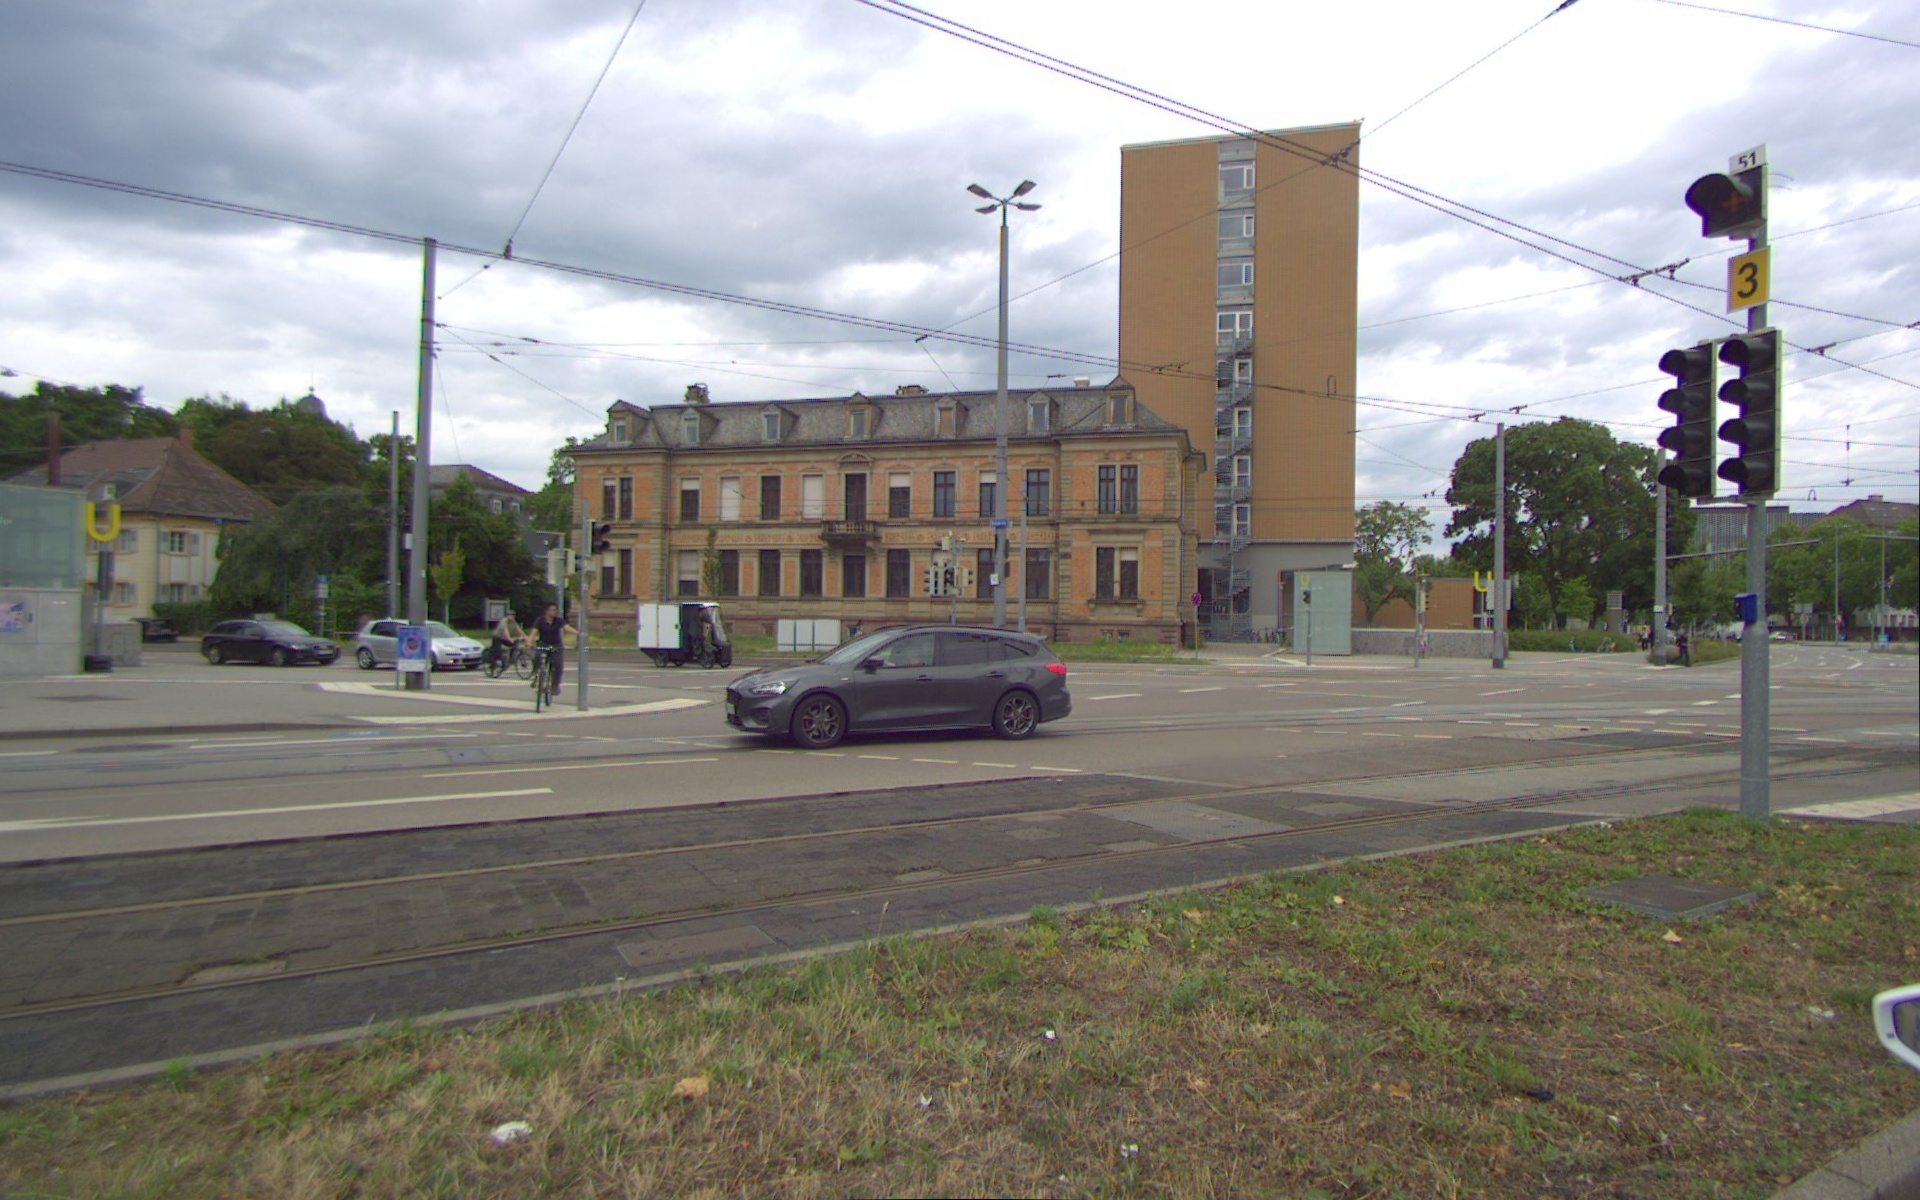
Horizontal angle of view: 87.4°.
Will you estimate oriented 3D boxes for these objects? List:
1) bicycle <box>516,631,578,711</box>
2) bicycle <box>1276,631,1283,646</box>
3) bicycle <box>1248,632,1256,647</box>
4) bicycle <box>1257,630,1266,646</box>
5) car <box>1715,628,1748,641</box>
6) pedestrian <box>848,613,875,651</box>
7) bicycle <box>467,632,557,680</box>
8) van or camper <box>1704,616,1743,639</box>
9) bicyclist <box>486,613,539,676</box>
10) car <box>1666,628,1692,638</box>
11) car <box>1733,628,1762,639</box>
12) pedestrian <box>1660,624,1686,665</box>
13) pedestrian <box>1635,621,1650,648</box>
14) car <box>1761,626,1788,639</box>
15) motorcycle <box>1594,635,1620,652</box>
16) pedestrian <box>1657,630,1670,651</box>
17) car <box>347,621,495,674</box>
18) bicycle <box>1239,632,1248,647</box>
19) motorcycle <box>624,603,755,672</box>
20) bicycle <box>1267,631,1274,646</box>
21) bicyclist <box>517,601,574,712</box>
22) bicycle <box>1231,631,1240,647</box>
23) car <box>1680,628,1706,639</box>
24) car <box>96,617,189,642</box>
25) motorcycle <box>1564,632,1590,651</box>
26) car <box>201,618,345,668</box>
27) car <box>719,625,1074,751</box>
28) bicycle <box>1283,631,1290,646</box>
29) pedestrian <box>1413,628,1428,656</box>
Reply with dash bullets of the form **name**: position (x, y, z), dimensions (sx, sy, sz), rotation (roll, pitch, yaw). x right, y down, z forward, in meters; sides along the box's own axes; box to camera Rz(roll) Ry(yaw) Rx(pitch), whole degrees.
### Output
- **bicycle**: position (-7.053, 1.169, 17.095), dimensions (0.805, 1.259, 1.986), rotation (0, -2, -27)
- **bicycle**: position (23.400, 2.791, 73.649), dimensions (0.472, 1.063, 1.428), rotation (1, -1, 18)
- **bicycle**: position (21.558, 2.920, 74.138), dimensions (0.561, 1.120, 1.428), rotation (1, -1, 18)
- **bicycle**: position (22.202, 2.797, 73.971), dimensions (0.561, 1.120, 1.428), rotation (1, -1, 18)
- **car**: position (94.934, 4.244, 123.636), dimensions (1.746, 1.483, 4.002), rotation (1, -1, 14)
- **pedestrian**: position (-4.738, 1.537, 48.262), dimensions (1.104, 1.786, 0.759), rotation (1, -1, 8)
- **bicycle**: position (-11.864, 1.466, 26.605), dimensions (2.154, 1.224, 0.857), rotation (0, -2, 20)
- **van or camper**: position (108.264, 3.816, 142.515), dimensions (2.347, 3.165, 5.507), rotation (1, -1, 12)
- **bicyclist**: position (-11.854, 1.166, 26.613), dimensions (0.899, 1.644, 0.855), rotation (0, -1, 20)
- **car**: position (113.902, 5.254, 159.139), dimensions (1.745, 1.483, 4.002), rotation (1, 0, 11)
- **car**: position (112.170, 4.768, 143.111), dimensions (1.745, 1.483, 4.002), rotation (1, 0, 13)
- **pedestrian**: position (37.003, 2.298, 52.105), dimensions (1.009, 2.040, 0.842), rotation (0, -1, 41)
- **pedestrian**: position (51.098, 2.568, 75.186), dimensions (0.781, 2.007, 0.880), rotation (1, -2, 26)
- **car**: position (108.451, 4.317, 133.770), dimensions (1.747, 1.483, 3.999), rotation (1, 0, 22)
- **motorcycle**: position (43.689, 2.939, 67.844), dimensions (1.716, 1.126, 0.510), rotation (1, -1, -17)
- **pedestrian**: position (66.275, 3.807, 94.660), dimensions (0.868, 2.007, 0.792), rotation (0, -2, 42)
- **car**: position (-16.242, 1.382, 30.266), dimensions (4.081, 1.473, 1.761), rotation (0, -1, 23)
- **bicycle**: position (20.996, 2.903, 74.308), dimensions (0.561, 1.120, 1.428), rotation (1, -1, 18)
- **motorcycle**: position (-8.486, 1.133, 31.554), dimensions (3.614, 2.040, 1.696), rotation (0, -1, 19)
- **bicycle**: position (22.826, 2.806, 73.773), dimensions (0.500, 1.063, 1.428), rotation (1, -1, 18)
- **bicyclist**: position (-7.083, 0.938, 17.165), dimensions (0.805, 1.822, 1.022), rotation (0, 0, -28)
- **bicycle**: position (20.432, 2.901, 74.481), dimensions (0.561, 1.120, 1.428), rotation (1, -1, 18)
- **car**: position (109.934, 5.041, 150.620), dimensions (1.746, 1.483, 4.002), rotation (1, 0, 15)
- **car**: position (-45.030, 1.596, 55.362), dimensions (3.919, 1.305, 1.936), rotation (1, -1, 12)
- **motorcycle**: position (41.586, 2.797, 67.718), dimensions (1.443, 1.285, 0.512), rotation (1, -1, 14)
- **car**: position (-22.040, 1.353, 32.236), dimensions (4.061, 1.468, 1.697), rotation (1, -1, 18)
- **car**: position (-0.804, 1.064, 13.118), dimensions (4.333, 1.414, 1.688), rotation (1, -1, -25)
- **bicycle**: position (23.896, 2.781, 73.489), dimensions (0.472, 1.063, 1.428), rotation (1, -1, 18)
- **pedestrian**: position (23.100, 2.115, 50.418), dimensions (0.562, 1.353, 0.499), rotation (1, -1, 10)
